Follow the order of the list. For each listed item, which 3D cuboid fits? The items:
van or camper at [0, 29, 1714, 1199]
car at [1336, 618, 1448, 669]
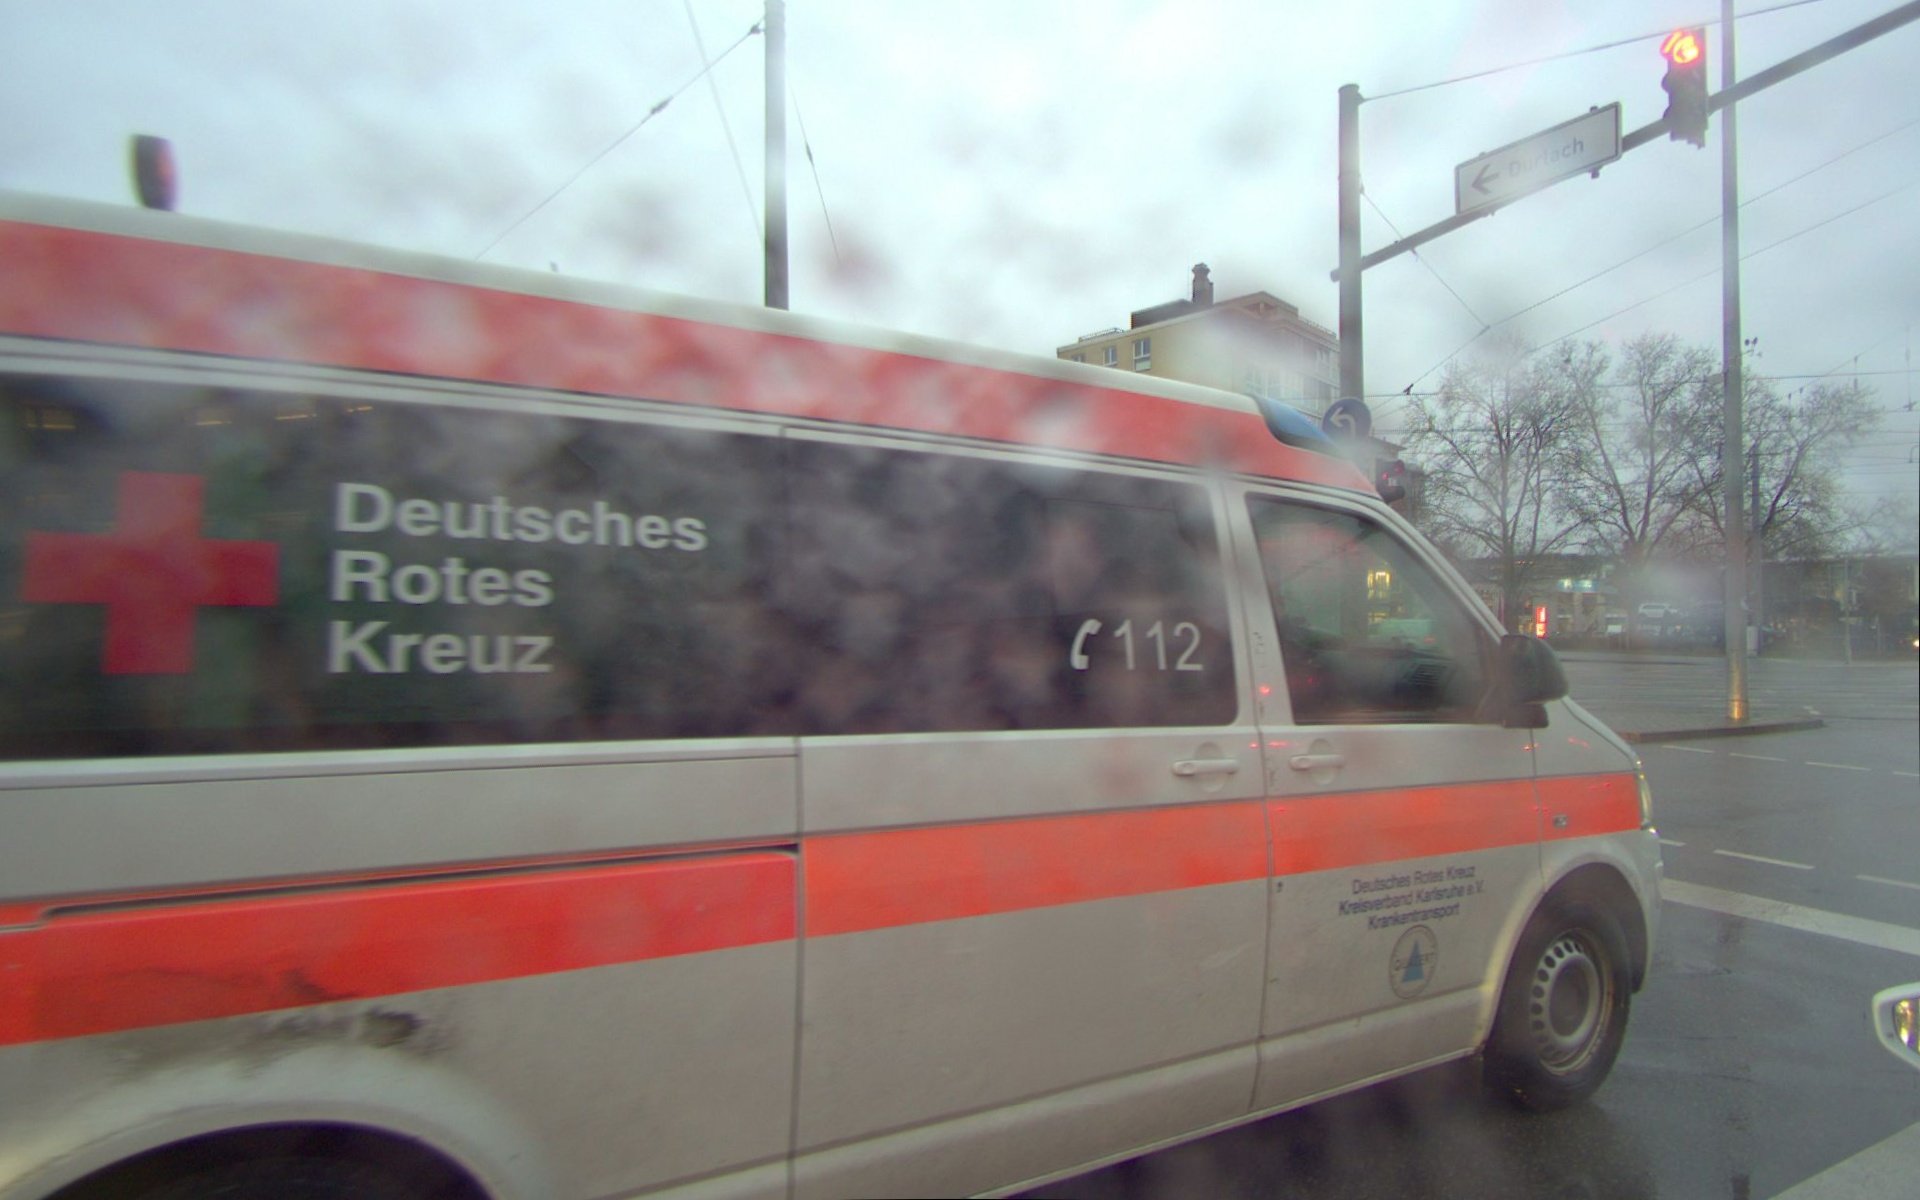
[{"bbox_3d":[-0.236,0.396,3.030,4.926,2.137,2.192,1,0,-29],"label":"van or camper"},{"bbox_3d":[20.136,2.009,46.901,4.351,2.040,1.903,2,-3,40],"label":"car"}]
